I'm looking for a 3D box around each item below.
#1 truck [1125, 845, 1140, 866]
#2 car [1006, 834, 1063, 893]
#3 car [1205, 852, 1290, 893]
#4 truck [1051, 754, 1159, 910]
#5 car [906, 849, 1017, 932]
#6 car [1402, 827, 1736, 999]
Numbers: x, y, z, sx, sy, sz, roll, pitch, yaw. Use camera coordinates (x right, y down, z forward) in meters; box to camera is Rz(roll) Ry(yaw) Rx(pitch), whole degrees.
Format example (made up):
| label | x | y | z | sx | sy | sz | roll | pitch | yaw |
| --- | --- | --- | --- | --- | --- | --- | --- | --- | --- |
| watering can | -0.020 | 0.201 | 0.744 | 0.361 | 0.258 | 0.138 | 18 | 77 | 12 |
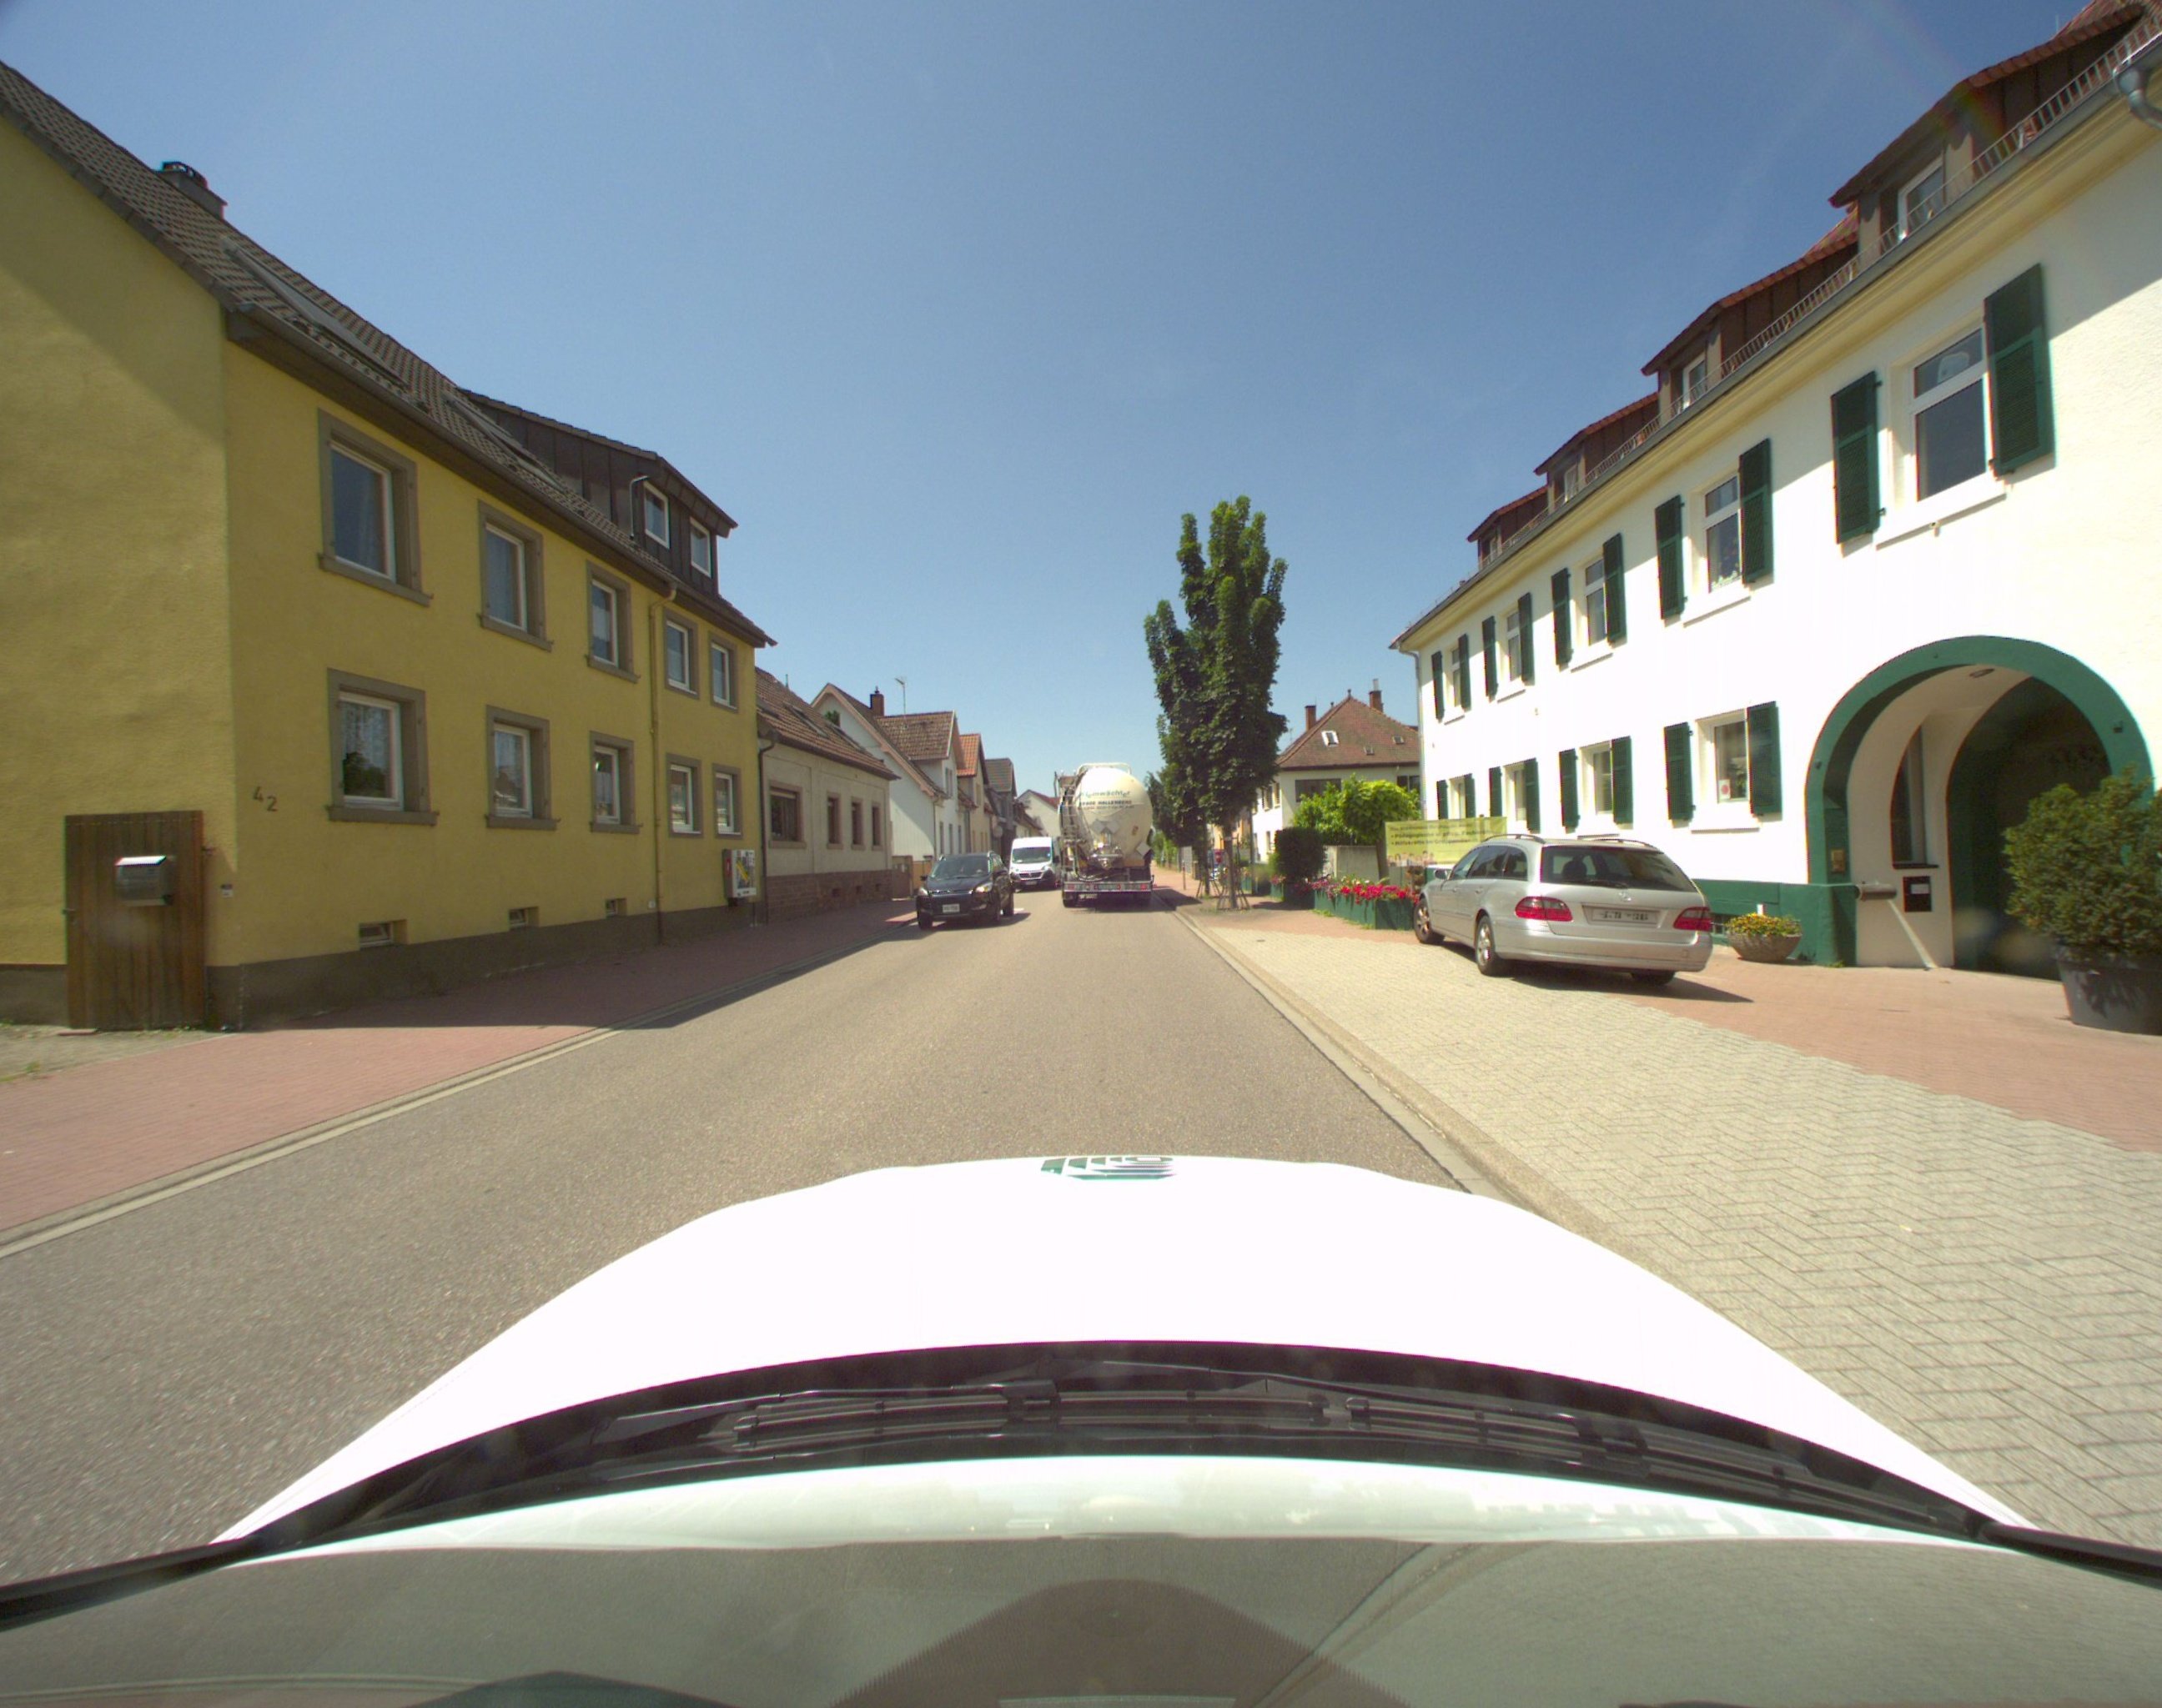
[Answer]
| label | x | y | z | sx | sy | sz | roll | pitch | yaw |
| --- | --- | --- | --- | --- | --- | --- | --- | --- | --- |
| truck | 8.221 | 0.267 | 129.352 | 1.984 | 3.137 | 9.461 | 0 | 0 | 5 |
| car | -2.106 | 0.411 | 38.410 | 2.062 | 2.455 | 6.009 | -3 | 0 | 1 |
| car | 9.044 | 0.989 | 44.505 | 4.154 | 1.587 | 1.908 | 8 | 0 | 2 |
| truck | 0.708 | -0.520 | 24.854 | 2.723 | 3.960 | 8.143 | -1 | -1 | 1 |
| car | -2.734 | 0.783 | 19.642 | 1.832 | 1.670 | 4.325 | -3 | 0 | 1 |
| car | 5.347 | 0.514 | 9.791 | 1.804 | 1.462 | 4.899 | 2 | 0 | 10 |
